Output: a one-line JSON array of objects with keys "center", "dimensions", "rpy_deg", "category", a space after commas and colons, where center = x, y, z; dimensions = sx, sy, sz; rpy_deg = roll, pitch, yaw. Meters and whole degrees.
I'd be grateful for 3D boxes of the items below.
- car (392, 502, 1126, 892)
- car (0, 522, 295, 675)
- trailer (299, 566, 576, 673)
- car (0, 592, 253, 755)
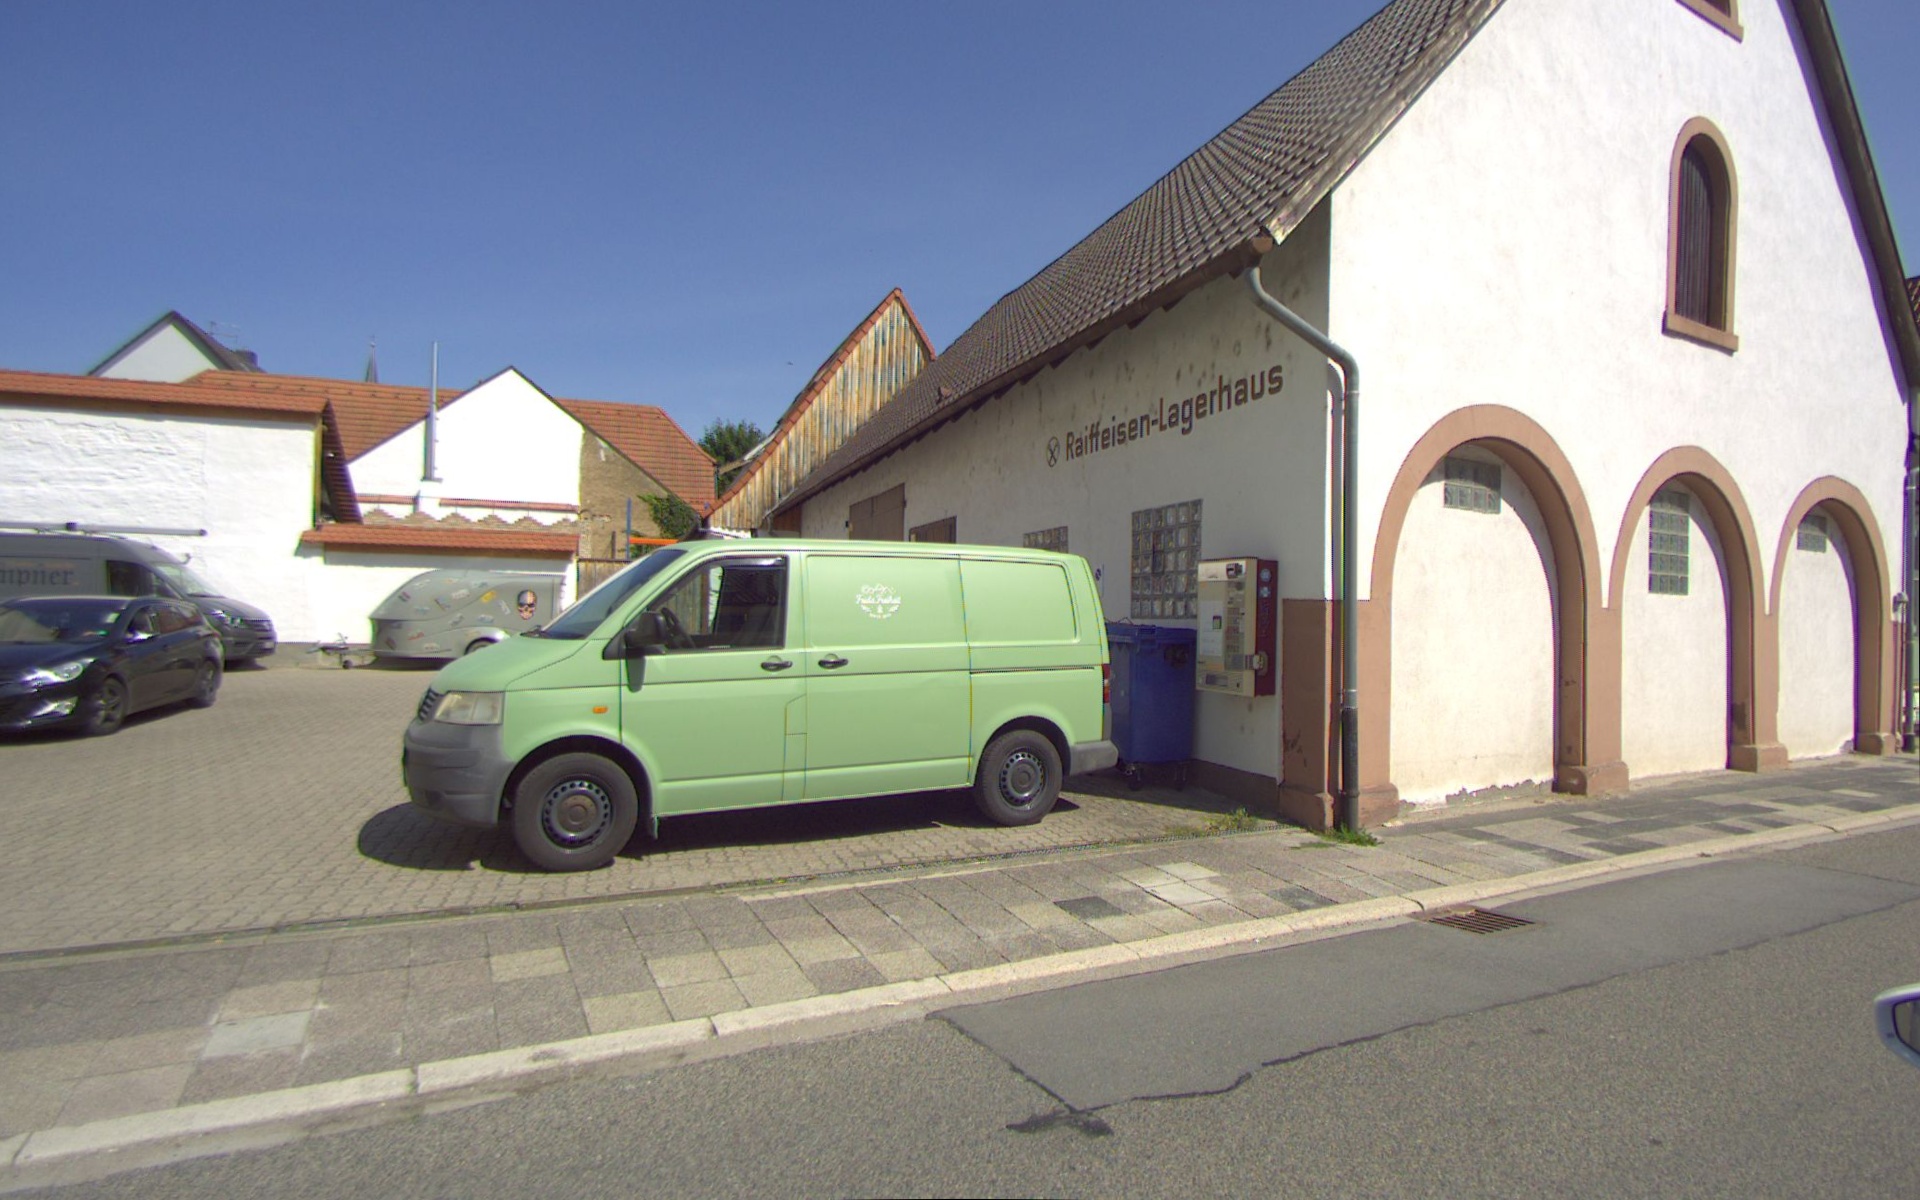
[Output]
[{"center": [-1.291, 0.549, 7.096], "dimensions": [4.610, 1.990, 1.986], "rpy_deg": [1, -1, -28], "category": "car"}, {"center": [-16.011, 0.015, 19.117], "dimensions": [5.149, 2.708, 1.992], "rpy_deg": [2, -1, -18], "category": "car"}, {"center": [-10.695, 0.445, 21.029], "dimensions": [4.821, 2.040, 1.992], "rpy_deg": [2, -1, -19], "category": "trailer"}, {"center": [-10.163, 0.692, 11.573], "dimensions": [1.878, 1.486, 4.350], "rpy_deg": [1, 1, -15], "category": "car"}]
